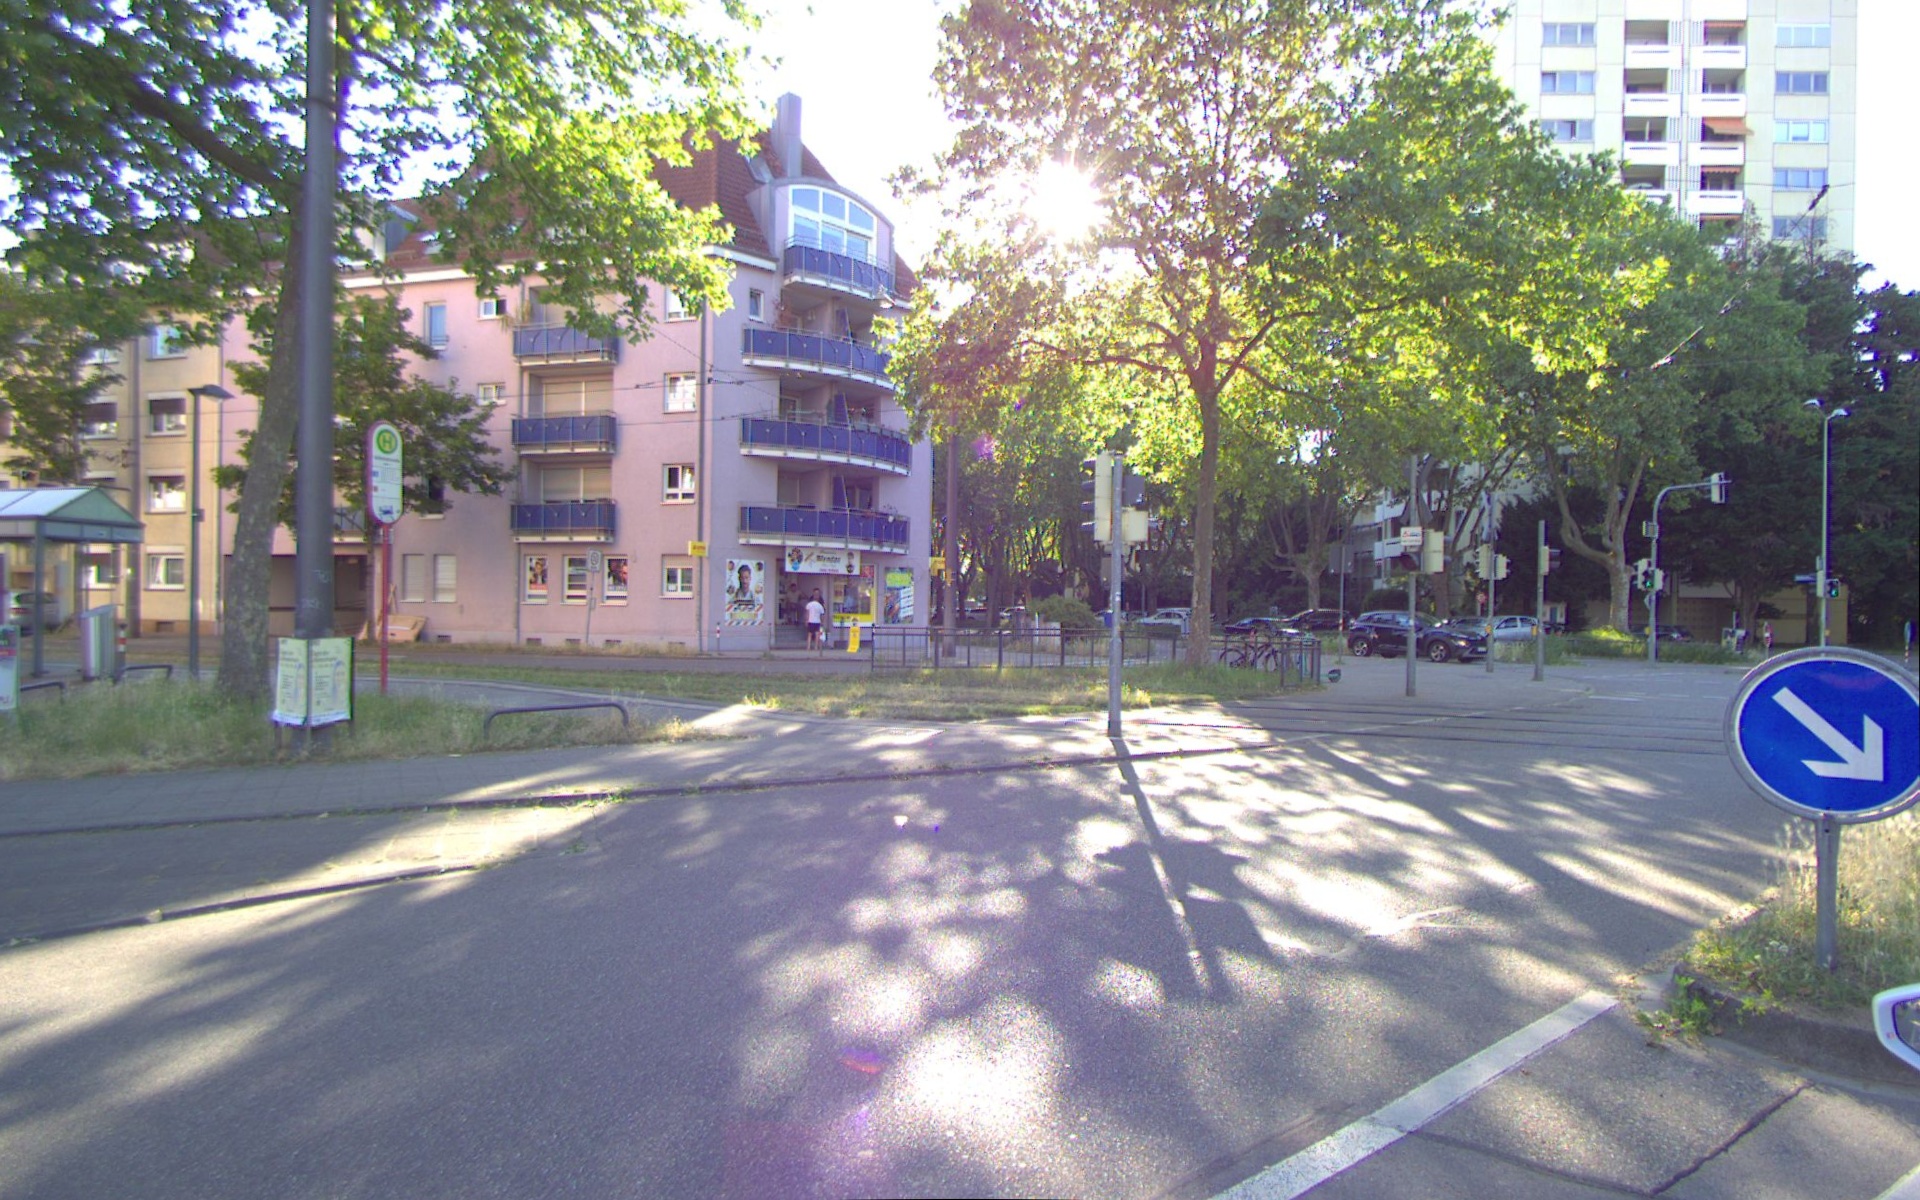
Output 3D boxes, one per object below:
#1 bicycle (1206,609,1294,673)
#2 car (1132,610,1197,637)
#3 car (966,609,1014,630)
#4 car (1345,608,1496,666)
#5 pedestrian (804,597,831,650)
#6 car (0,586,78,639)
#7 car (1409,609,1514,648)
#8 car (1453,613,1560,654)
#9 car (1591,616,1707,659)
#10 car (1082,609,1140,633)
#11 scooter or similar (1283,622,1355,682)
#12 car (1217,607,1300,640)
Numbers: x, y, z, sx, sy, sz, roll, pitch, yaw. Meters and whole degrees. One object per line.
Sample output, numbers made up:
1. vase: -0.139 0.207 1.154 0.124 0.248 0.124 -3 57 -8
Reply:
1. bicycle: 6.401 0.885 22.247 1.811 1.324 0.382 2 0 34
2. car: 13.403 1.550 65.985 3.921 1.617 1.738 2 0 0
3. car: 2.609 1.668 86.368 3.919 1.617 1.739 2 0 9
4. car: 14.344 1.108 31.453 1.722 1.617 3.959 2 0 -36
5. pedestrian: -4.632 0.765 32.636 0.610 1.689 0.549 2 0 38
6. car: -33.478 0.393 35.220 4.029 1.728 1.940 2 0 16
7. car: 22.840 1.296 45.835 3.921 1.617 1.738 2 0 0
8. car: 23.880 1.463 43.984 3.732 1.617 1.738 2 0 0
9. car: 31.612 1.705 46.204 1.971 1.798 3.979 2 0 -22
10. car: 11.085 1.522 73.899 3.921 1.617 1.738 2 0 0
11. scooter or similar: 7.923 1.149 22.206 1.412 1.255 0.414 2 0 9
12. car: 15.914 1.239 53.683 3.921 1.617 1.738 2 0 0
